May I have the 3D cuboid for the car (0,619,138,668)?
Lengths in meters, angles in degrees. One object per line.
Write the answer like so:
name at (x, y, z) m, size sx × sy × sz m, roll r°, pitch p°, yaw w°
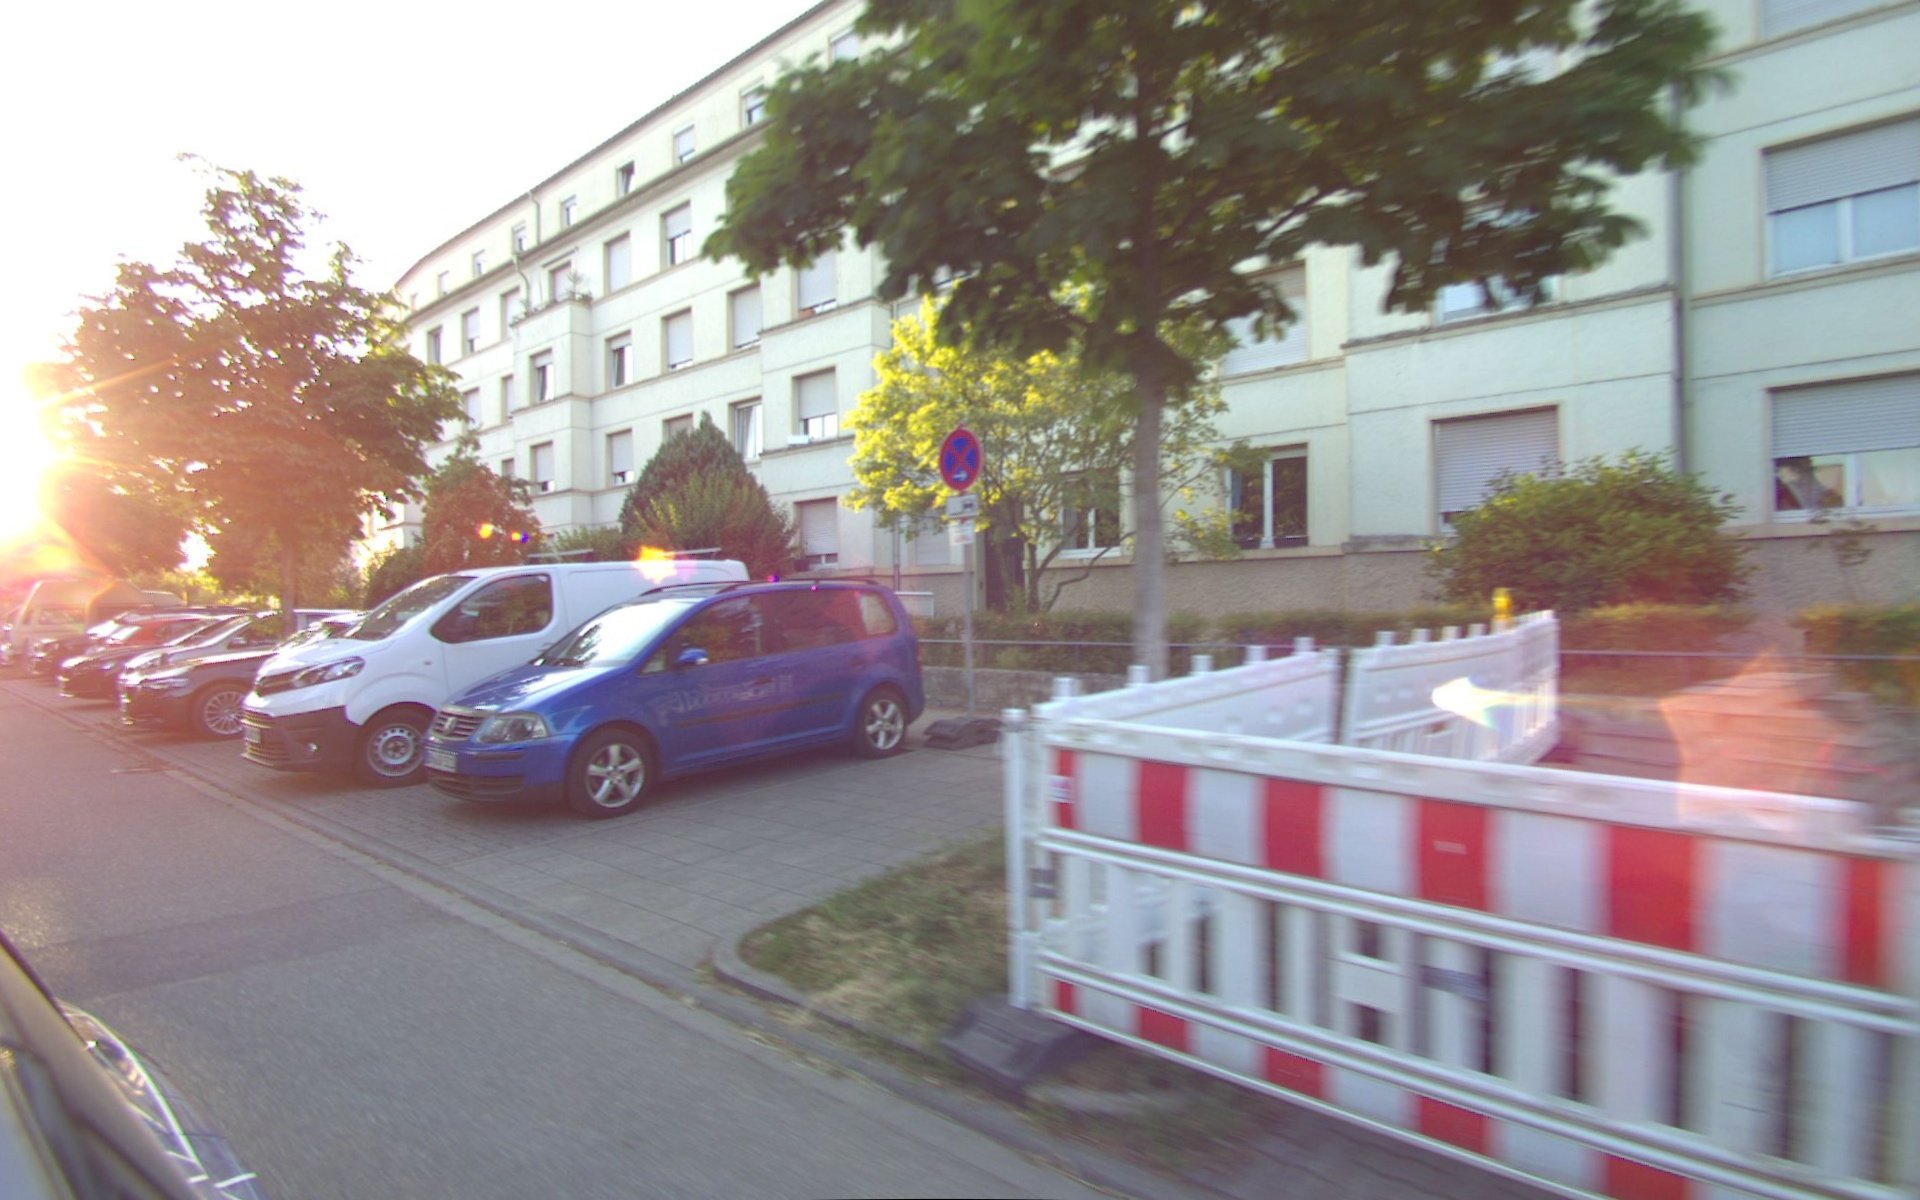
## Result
car at (-29.991, 1.429, 33.840) m, size 1.656 × 1.450 × 3.726 m, roll -2°, pitch 0°, yaw 44°

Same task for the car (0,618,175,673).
car at (-26.217, 1.322, 30.210) m, size 2.000 × 1.436 × 4.129 m, roll -2°, pitch -1°, yaw 43°

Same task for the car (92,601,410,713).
car at (-11.550, 0.847, 16.720) m, size 1.798 × 1.590 × 3.950 m, roll -2°, pitch -1°, yaw 37°

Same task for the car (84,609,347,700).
car at (-14.877, 1.018, 20.402) m, size 1.728 × 1.595 × 3.950 m, roll -2°, pitch -1°, yaw 37°

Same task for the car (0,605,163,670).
car at (-28.224, 1.144, 31.921) m, size 2.000 × 1.888 × 4.622 m, roll -2°, pitch -1°, yaw 43°

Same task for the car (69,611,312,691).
car at (-16.841, 1.051, 22.307) m, size 1.788 × 1.536 × 3.948 m, roll -2°, pitch -1°, yaw 38°

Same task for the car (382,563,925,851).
car at (-2.267, 0.661, 8.334) m, size 1.798 × 1.766 × 3.948 m, roll -2°, pitch -1°, yaw 39°

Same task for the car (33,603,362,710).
car at (-13.471, 0.917, 18.128) m, size 1.897 × 1.627 × 4.365 m, roll -2°, pitch -1°, yaw 37°

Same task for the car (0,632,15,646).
car at (-111.936, 4.545, 118.372) m, size 1.772 × 1.535 × 4.007 m, roll -1°, pitch -1°, yaw -39°

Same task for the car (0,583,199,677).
car at (-24.460, 0.794, 28.589) m, size 2.001 × 2.449 × 4.452 m, roll -2°, pitch -1°, yaw 44°

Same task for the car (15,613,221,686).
car at (-21.034, 1.180, 25.371) m, size 1.786 × 1.607 × 3.817 m, roll -2°, pitch -1°, yaw 44°

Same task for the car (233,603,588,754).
car at (-6.505, 0.831, 12.189) m, size 1.758 × 1.495 × 3.377 m, roll -2°, pitch -1°, yaw 43°

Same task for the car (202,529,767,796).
car at (-4.451, 0.473, 10.151) m, size 1.999 × 2.029 × 4.723 m, roll -2°, pitch -1°, yaw 40°

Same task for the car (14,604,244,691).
car at (-19.114, 1.023, 23.398) m, size 1.841 × 1.790 × 3.823 m, roll -2°, pitch -1°, yaw 38°

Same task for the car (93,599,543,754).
car at (-8.348, 0.855, 13.573) m, size 1.880 × 1.481 × 4.723 m, roll -1°, pitch 2°, yaw 41°
